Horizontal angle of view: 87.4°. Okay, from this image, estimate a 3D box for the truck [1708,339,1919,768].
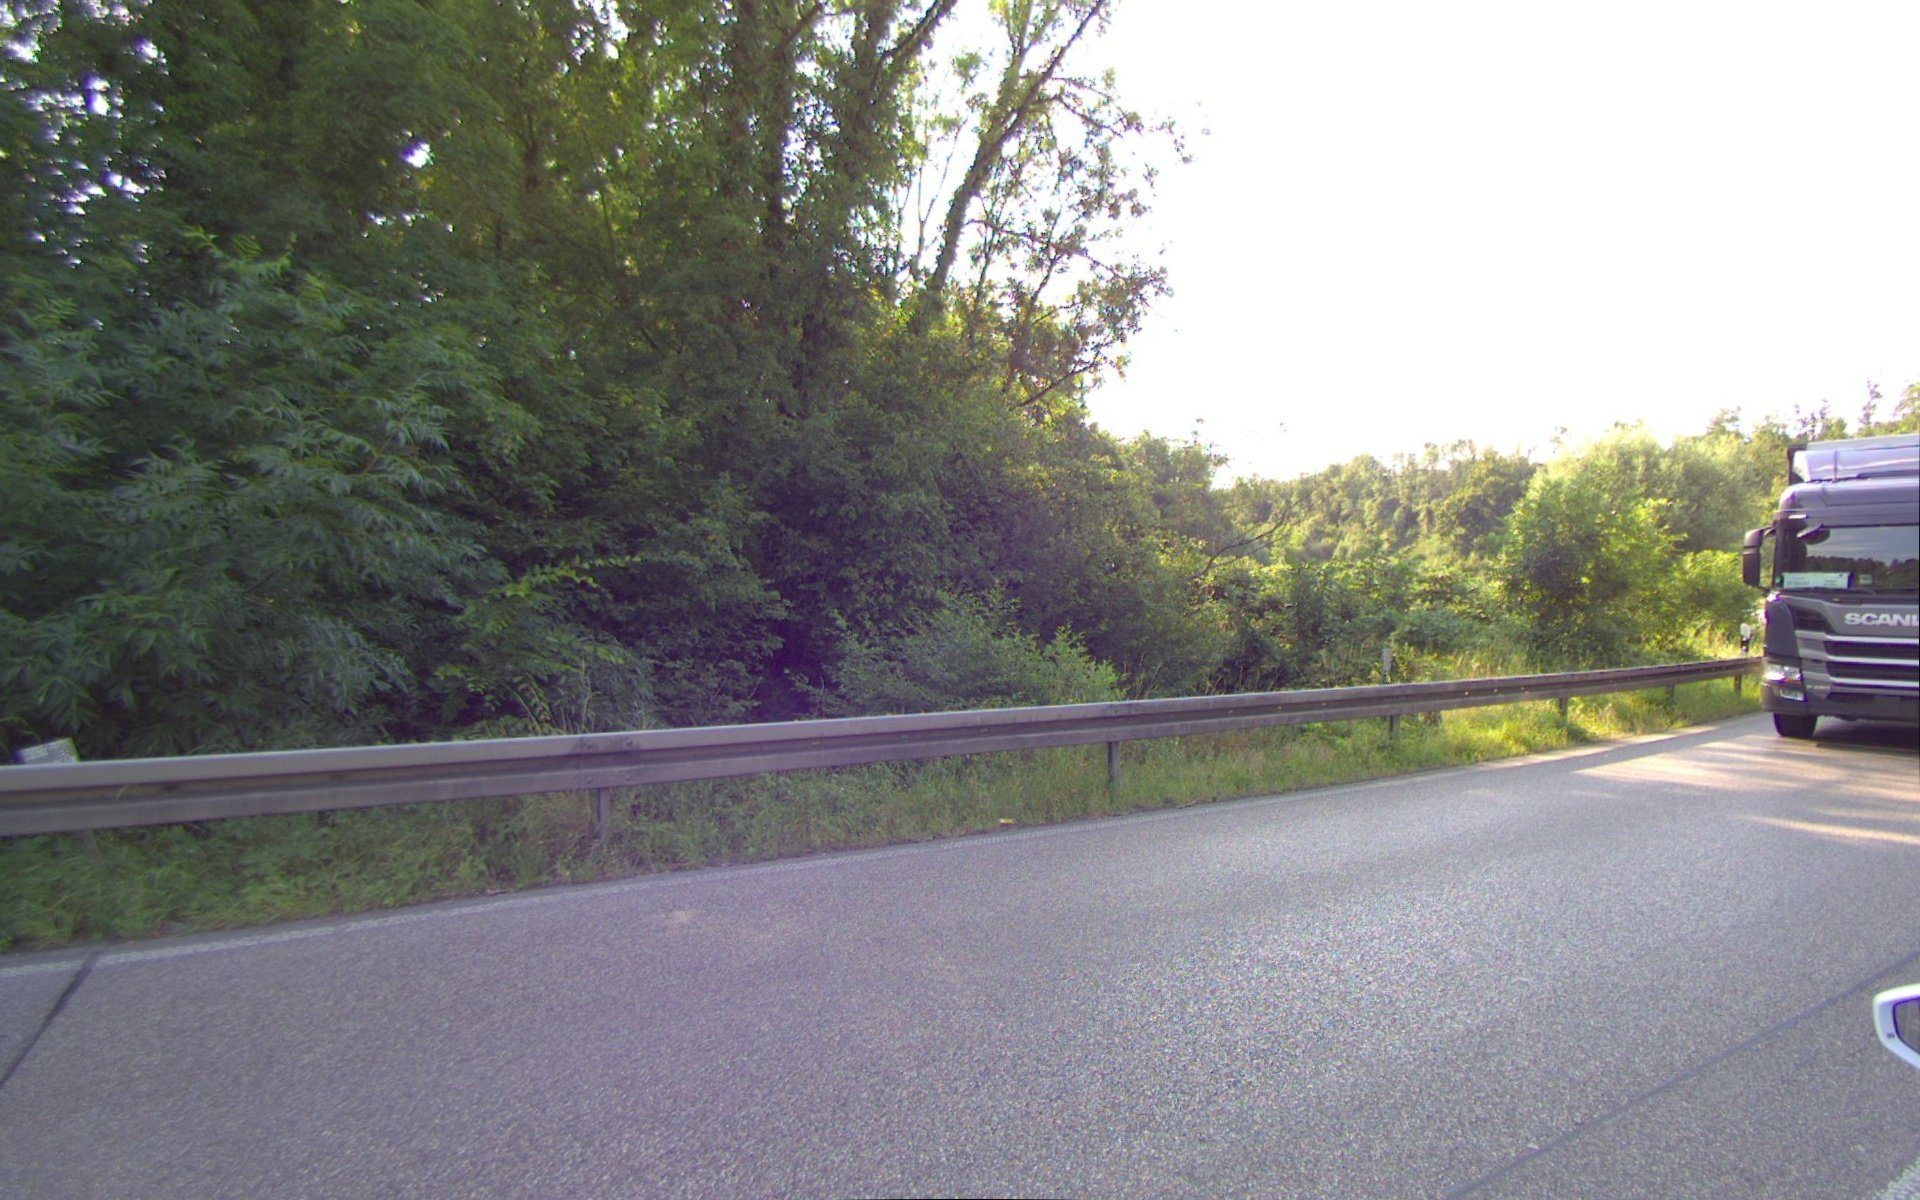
[{"bbox_3d":[13.985,-0.416,14.530,10.163,4.646,2.985,1,0,-42],"label":"truck"}]
